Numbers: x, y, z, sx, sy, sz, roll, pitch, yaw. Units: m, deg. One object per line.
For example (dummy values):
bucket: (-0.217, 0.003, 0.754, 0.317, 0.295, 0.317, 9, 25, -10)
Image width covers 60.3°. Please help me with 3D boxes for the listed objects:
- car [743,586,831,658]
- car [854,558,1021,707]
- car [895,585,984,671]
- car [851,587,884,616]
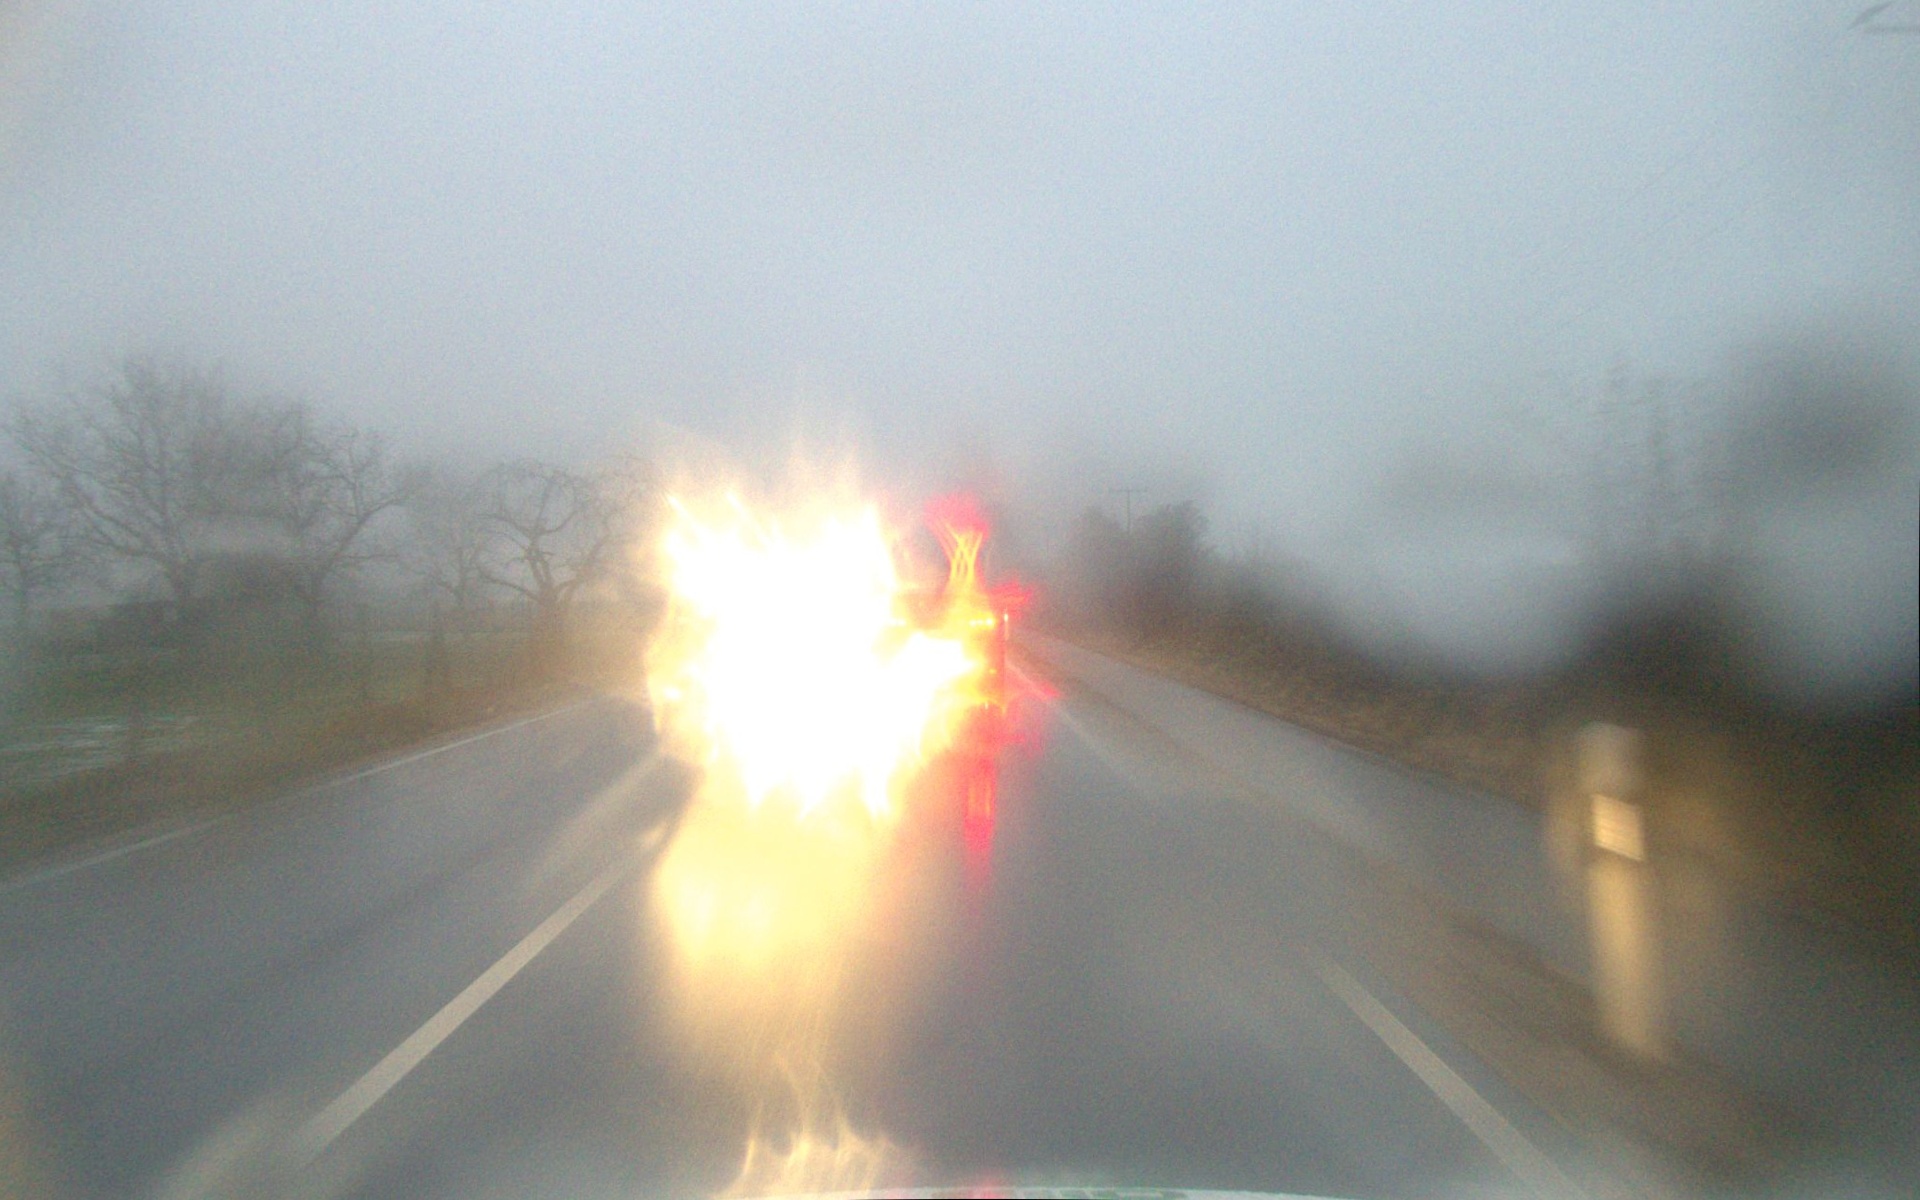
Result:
car: (-4.078, 0.481, 39.611, 1.818, 1.543, 4.513, -2, 0, -3)
car: (-0.307, 0.387, 23.127, 2.077, 1.852, 4.979, 0, 0, -1)
car: (-0.477, 0.632, 39.008, 1.953, 1.881, 3.999, 1, 0, -1)
car: (-5.332, 0.068, 95.490, 1.726, 1.582, 3.999, -2, 1, -1)
